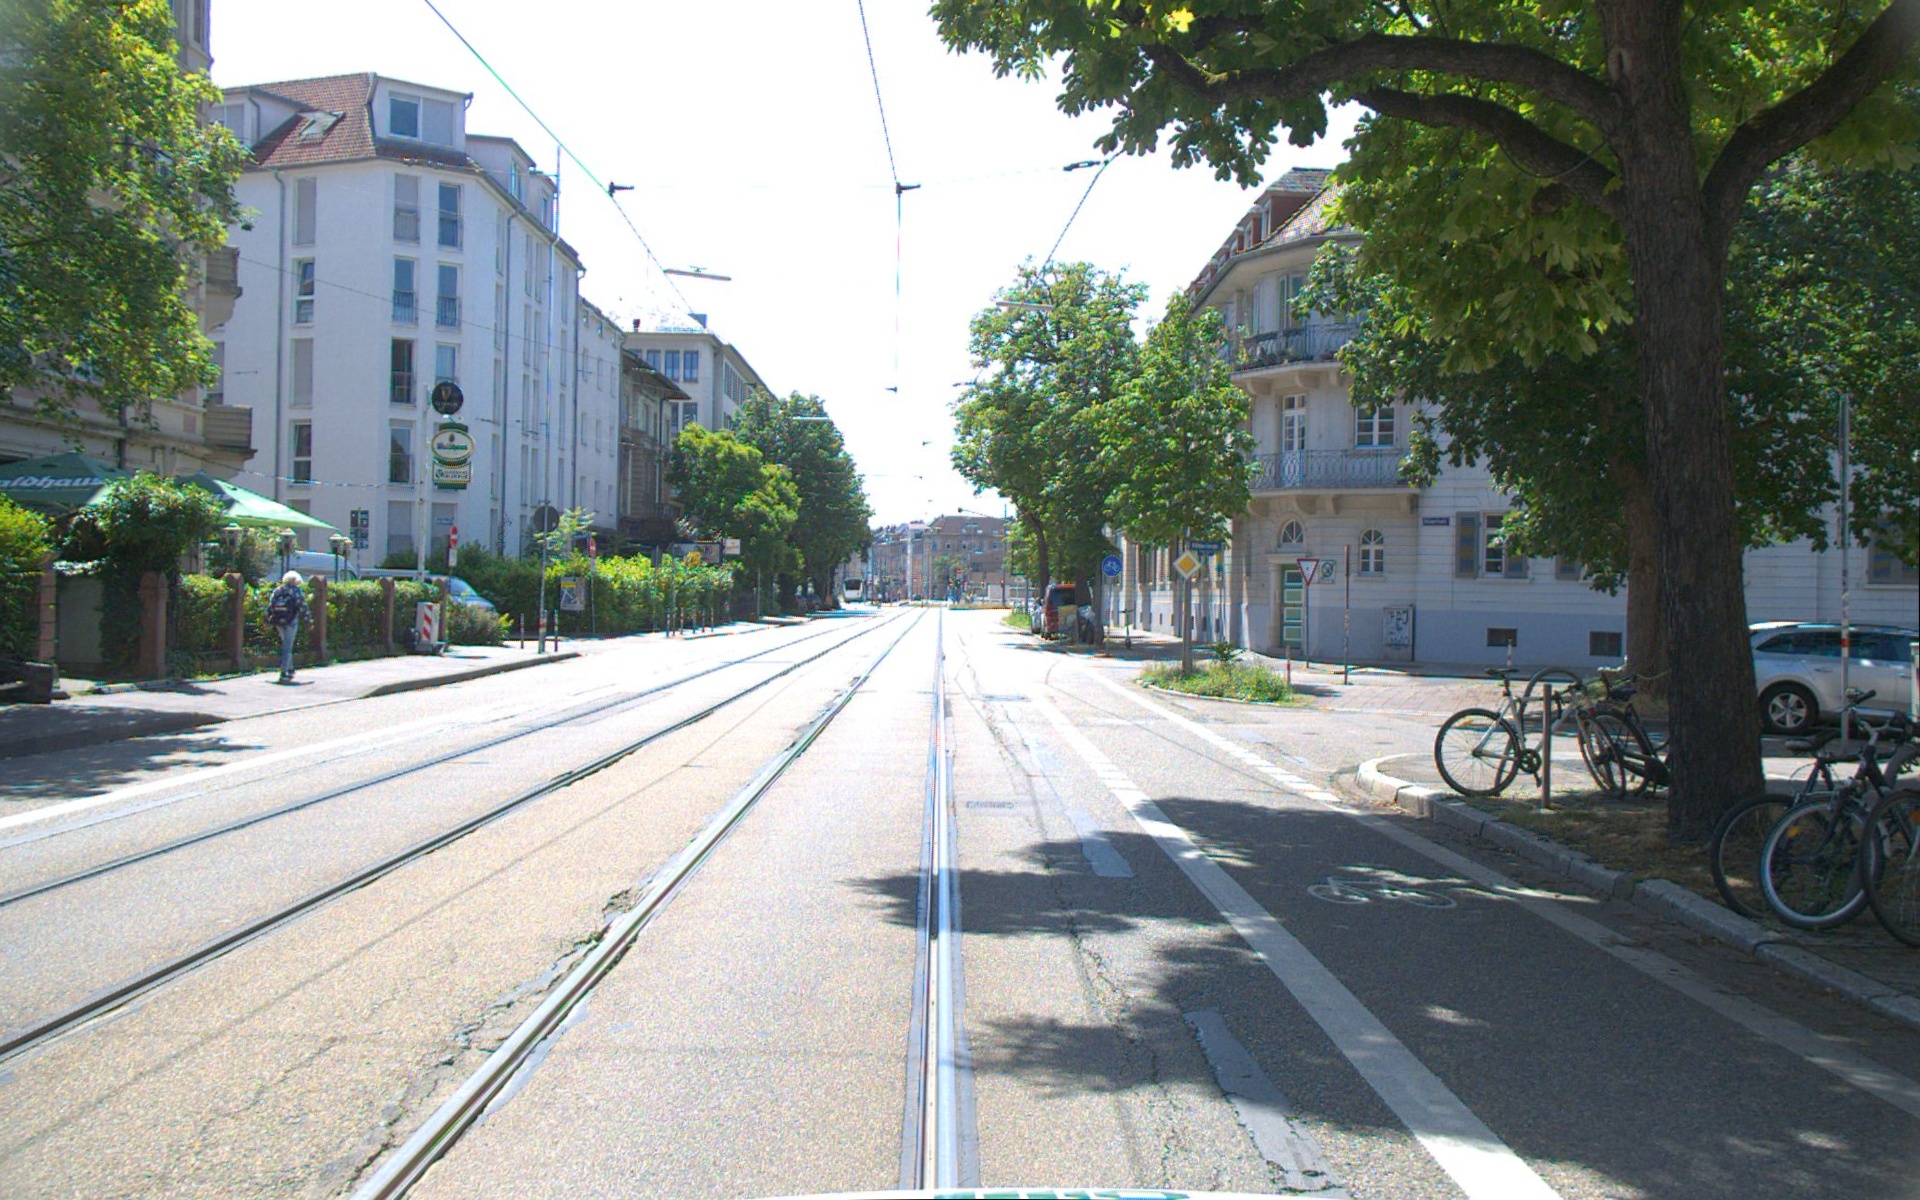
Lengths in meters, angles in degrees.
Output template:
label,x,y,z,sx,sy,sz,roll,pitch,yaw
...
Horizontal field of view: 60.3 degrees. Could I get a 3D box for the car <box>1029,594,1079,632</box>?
label,x,y,z,sx,sy,sz,roll,pitch,yaw
car,3.931,0.545,69.653,1.748,1.498,3.771,2,0,-2

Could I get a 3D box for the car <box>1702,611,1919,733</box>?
label,x,y,z,sx,sy,sz,roll,pitch,yaw
car,12.353,0.944,21.844,4.590,1.462,1.736,1,0,27

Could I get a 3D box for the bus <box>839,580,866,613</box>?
label,x,y,z,sx,sy,sz,roll,pitch,yaw
bus,-14.244,-0.404,219.990,2.872,4.005,11.272,3,-1,-1

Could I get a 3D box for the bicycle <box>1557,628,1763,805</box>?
label,x,y,z,sx,sy,sz,roll,pitch,yaw
bicycle,5.354,0.847,12.796,0.569,1.252,2.004,0,-1,-6

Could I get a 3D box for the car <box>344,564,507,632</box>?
label,x,y,z,sx,sy,sz,roll,pitch,yaw
car,-16.480,-0.063,51.044,4.386,1.937,2.001,2,0,16

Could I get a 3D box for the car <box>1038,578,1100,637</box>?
label,x,y,z,sx,sy,sz,roll,pitch,yaw
car,4.050,0.252,62.163,1.953,2.071,4.696,1,0,-1

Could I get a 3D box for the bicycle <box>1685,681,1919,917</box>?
label,x,y,z,sx,sy,sz,roll,pitch,yaw
bicycle,4.830,0.997,8.450,1.968,1.133,0.640,0,-1,1

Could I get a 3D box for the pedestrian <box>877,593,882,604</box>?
label,x,y,z,sx,sy,sz,roll,pitch,yaw
pedestrian,-8.467,-0.174,173.805,0.482,1.193,0.588,1,0,-13

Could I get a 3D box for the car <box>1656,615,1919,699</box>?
label,x,y,z,sx,sy,sz,roll,pitch,yaw
car,16.190,1.068,32.400,4.590,1.413,1.736,1,1,27

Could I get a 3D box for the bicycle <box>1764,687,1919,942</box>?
label,x,y,z,sx,sy,sz,roll,pitch,yaw
bicycle,4.917,0.998,7.830,1.922,1.133,0.599,0,-1,1

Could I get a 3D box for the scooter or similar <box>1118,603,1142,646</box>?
label,x,y,z,sx,sy,sz,roll,pitch,yaw
scooter or similar,5.108,0.735,49.825,0.491,1.251,1.573,2,0,-1

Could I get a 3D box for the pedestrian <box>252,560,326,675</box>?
label,x,y,z,sx,sy,sz,roll,pitch,yaw
pedestrian,-9.997,0.257,24.657,0.736,1.657,0.833,2,0,-4

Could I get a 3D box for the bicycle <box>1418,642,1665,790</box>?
label,x,y,z,sx,sy,sz,roll,pitch,yaw
bicycle,4.577,0.903,13.066,1.779,1.133,0.493,0,-1,-2

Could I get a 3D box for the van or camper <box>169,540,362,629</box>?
label,x,y,z,sx,sy,sz,roll,pitch,yaw
van or camper,-18.045,-0.372,43.241,1.952,2.156,4.801,2,0,18
